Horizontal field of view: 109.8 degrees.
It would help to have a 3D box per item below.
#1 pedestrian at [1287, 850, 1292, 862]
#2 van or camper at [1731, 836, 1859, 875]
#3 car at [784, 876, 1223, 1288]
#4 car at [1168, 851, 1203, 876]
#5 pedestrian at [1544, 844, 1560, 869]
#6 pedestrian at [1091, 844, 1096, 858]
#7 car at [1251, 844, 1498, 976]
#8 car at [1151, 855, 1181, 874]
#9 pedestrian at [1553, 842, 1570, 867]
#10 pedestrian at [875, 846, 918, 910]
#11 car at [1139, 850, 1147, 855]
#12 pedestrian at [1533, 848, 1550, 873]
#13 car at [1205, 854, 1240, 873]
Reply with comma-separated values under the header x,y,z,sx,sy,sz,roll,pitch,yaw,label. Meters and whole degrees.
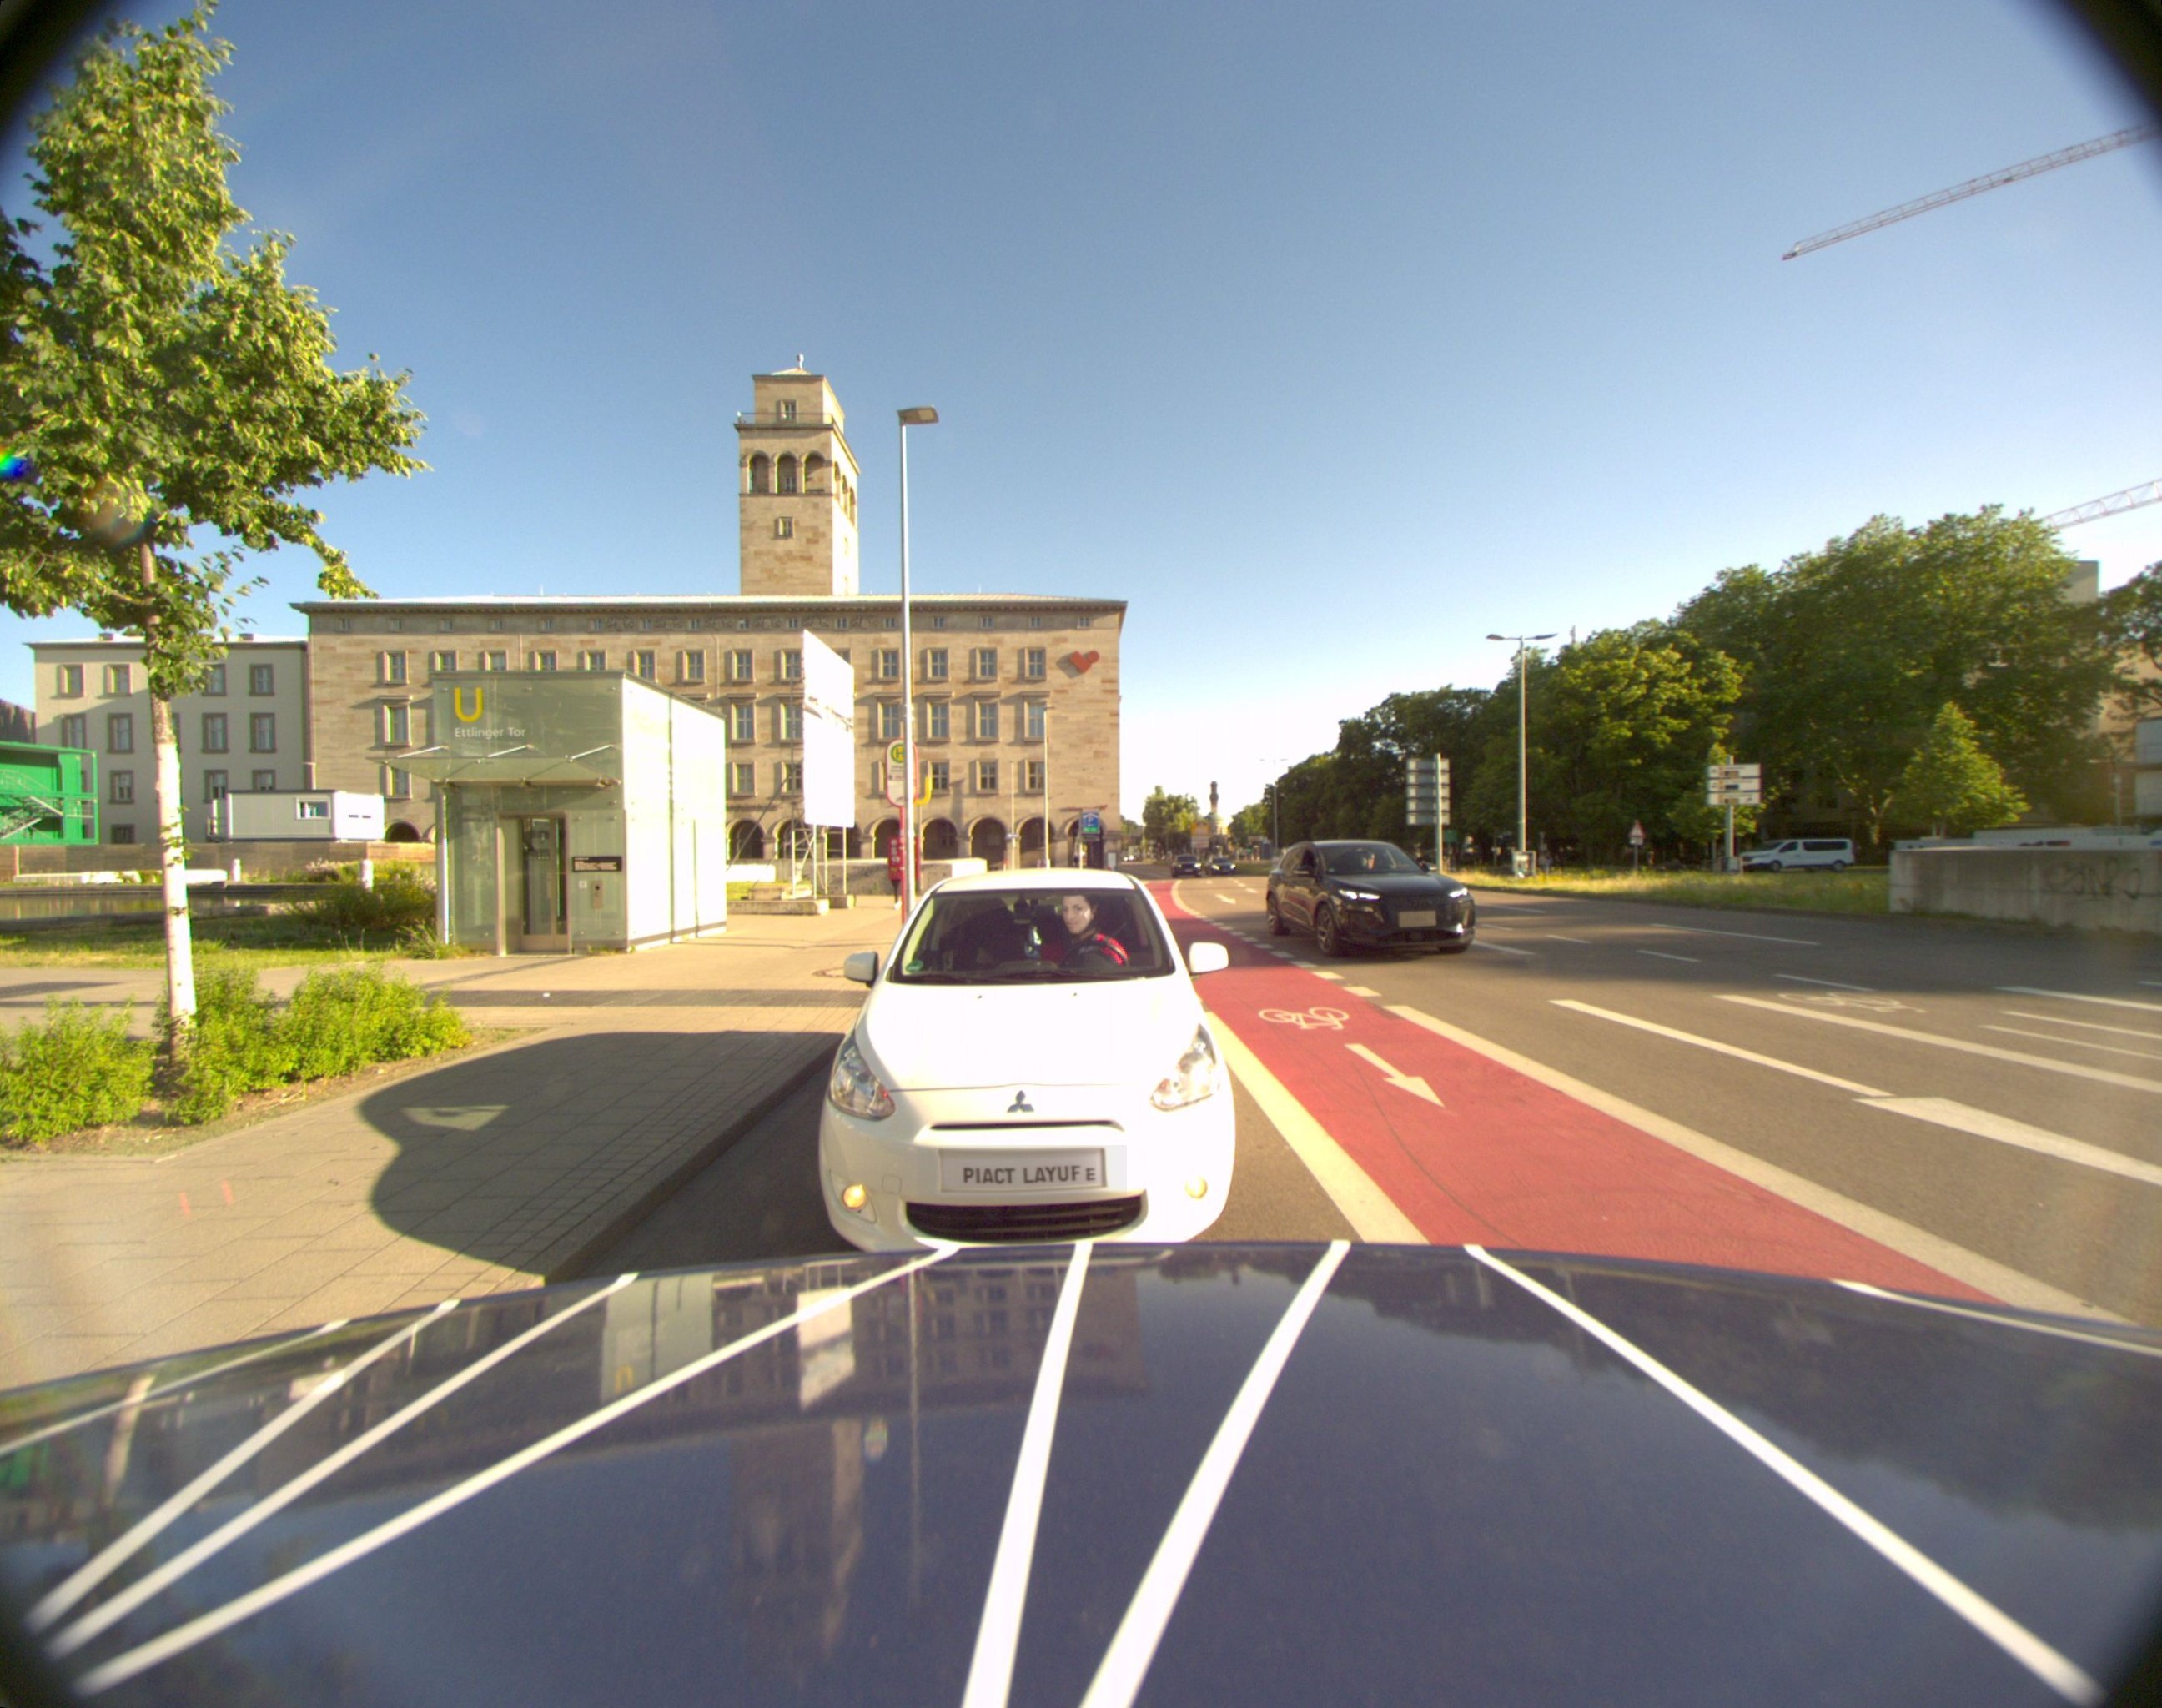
x,y,z,sx,sy,sz,roll,pitch,yaw,label
32.358,0.309,117.926,0.568,1.837,0.734,-1,1,-1,pedestrian
42.300,0.077,45.088,5.649,2.002,1.948,-2,1,2,van or camper
-0.315,0.958,4.946,1.678,1.440,3.888,-2,0,0,car
7.476,0.658,54.728,1.998,1.709,4.325,-1,0,1,car
33.093,0.152,53.432,0.665,1.715,0.762,-1,1,1,pedestrian
1.671,-0.404,100.278,0.704,1.843,0.828,-1,1,0,pedestrian
4.250,0.699,11.943,1.938,1.634,4.615,-1,0,-2,car
7.123,0.870,64.280,1.998,1.398,4.488,-2,0,0,car
33.783,0.039,53.420,0.707,1.715,0.762,-1,1,-2,pedestrian
-5.260,0.679,21.715,0.942,1.776,1.072,1,1,1,pedestrian
17.790,-0.535,218.419,1.873,1.390,3.999,-1,0,-2,car
32.345,0.463,53.373,0.707,1.715,0.762,-1,1,1,pedestrian
11.270,0.727,60.850,1.998,1.398,4.488,-2,0,1,car
